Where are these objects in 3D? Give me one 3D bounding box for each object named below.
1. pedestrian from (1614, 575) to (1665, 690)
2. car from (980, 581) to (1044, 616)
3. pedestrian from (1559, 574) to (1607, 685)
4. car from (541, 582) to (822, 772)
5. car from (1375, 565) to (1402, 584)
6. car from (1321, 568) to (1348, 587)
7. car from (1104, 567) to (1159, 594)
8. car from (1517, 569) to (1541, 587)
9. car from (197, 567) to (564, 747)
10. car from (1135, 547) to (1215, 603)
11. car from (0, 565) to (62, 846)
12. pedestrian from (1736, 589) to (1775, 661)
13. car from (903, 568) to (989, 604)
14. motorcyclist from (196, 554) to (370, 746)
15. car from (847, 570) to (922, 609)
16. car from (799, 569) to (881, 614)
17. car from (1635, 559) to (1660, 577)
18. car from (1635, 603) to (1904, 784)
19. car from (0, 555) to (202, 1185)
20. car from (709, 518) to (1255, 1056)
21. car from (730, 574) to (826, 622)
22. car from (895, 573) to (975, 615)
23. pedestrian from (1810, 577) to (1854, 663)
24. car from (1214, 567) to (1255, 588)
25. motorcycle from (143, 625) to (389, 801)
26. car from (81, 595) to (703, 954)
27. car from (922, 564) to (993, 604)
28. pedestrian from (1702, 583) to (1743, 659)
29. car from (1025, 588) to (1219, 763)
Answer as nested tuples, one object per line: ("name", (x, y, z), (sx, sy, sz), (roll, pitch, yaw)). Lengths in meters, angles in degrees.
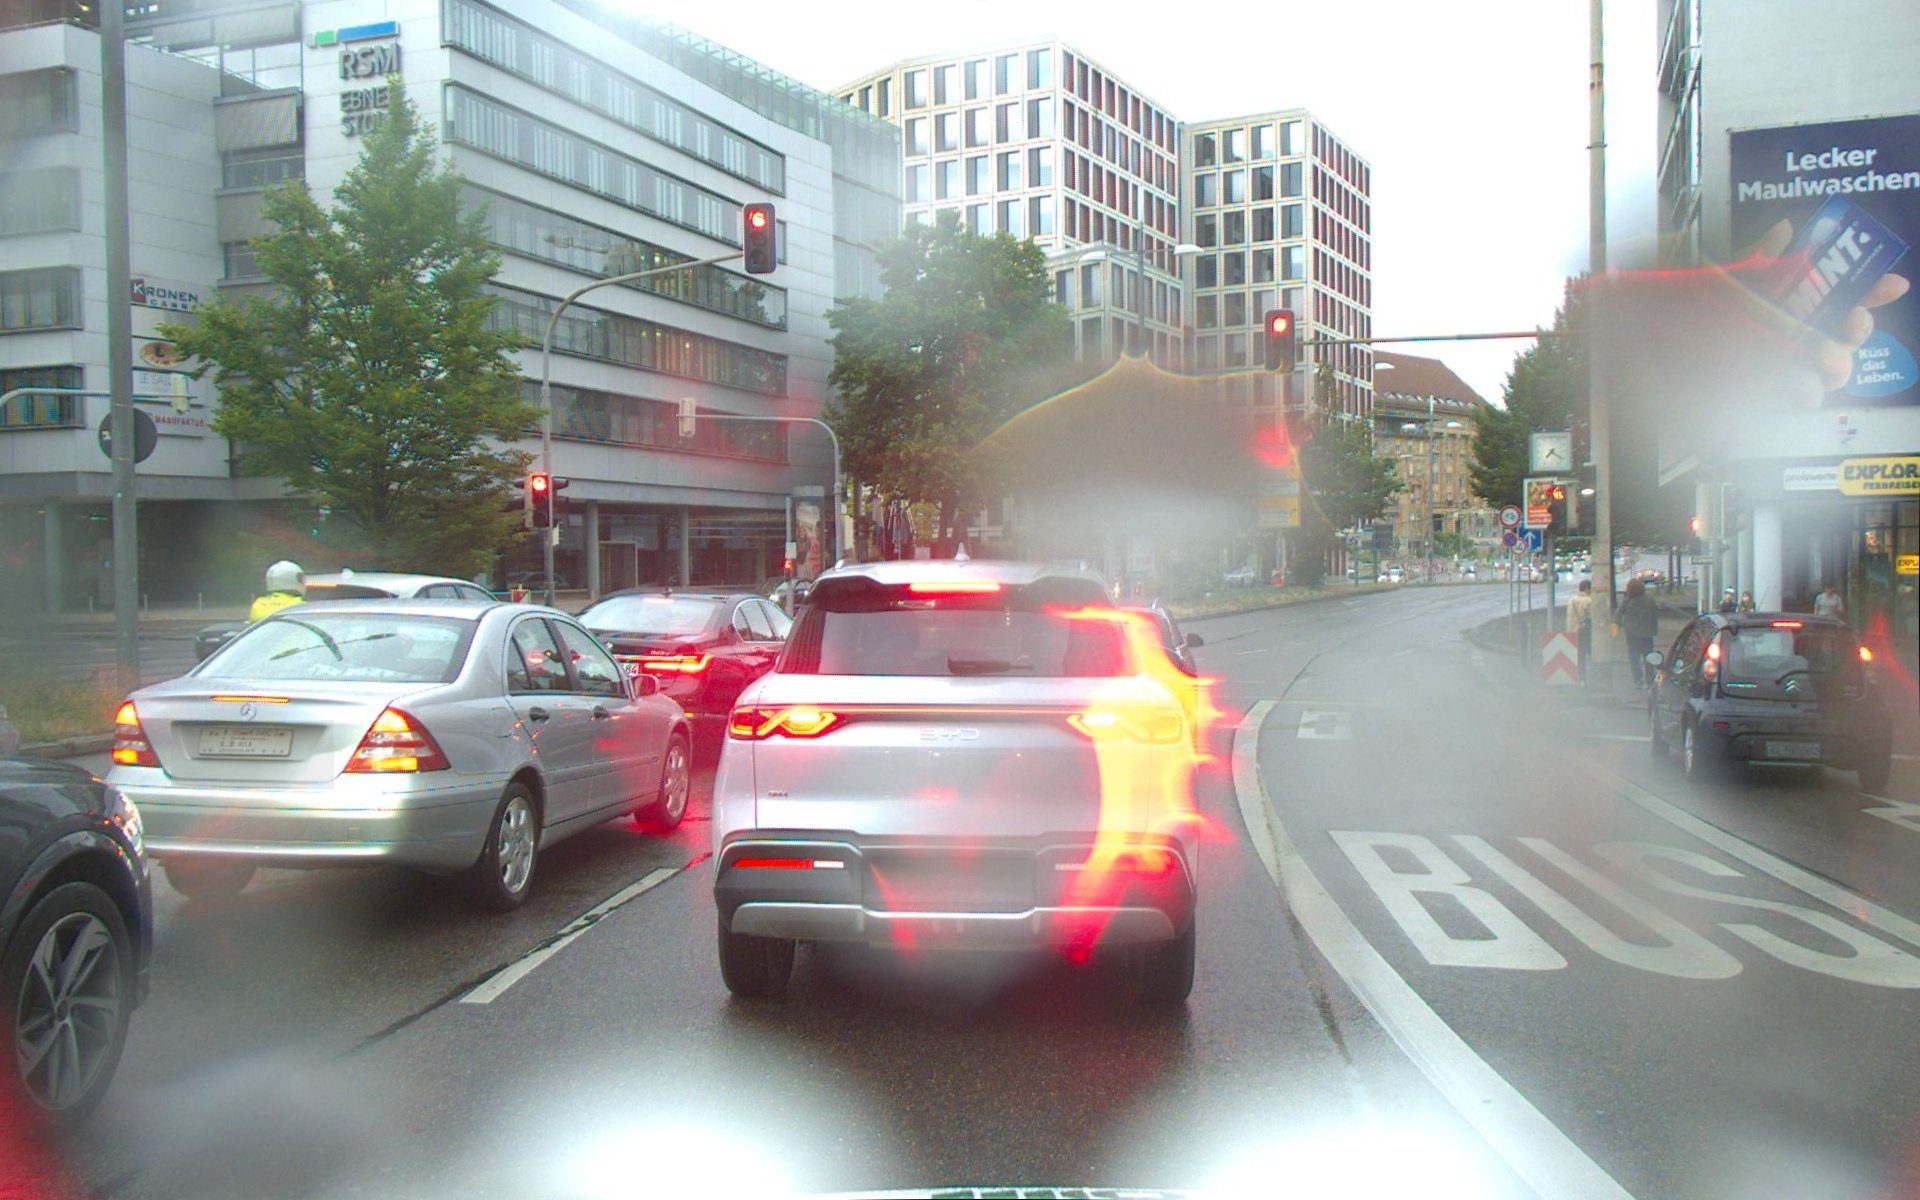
("pedestrian", (11.010, 0.509, 26.825), (0.733, 1.829, 0.817), (0, 1, 20))
("car", (2.580, -0.094, 81.306), (1.598, 1.586, 4.592), (0, 1, 23))
("pedestrian", (10.382, 0.477, 27.600), (0.733, 1.829, 0.817), (0, 1, 20))
("car", (-2.441, 0.635, 15.446), (1.537, 1.512, 4.003), (1, 0, 6))
("car", (34.051, -2.050, 131.378), (1.598, 1.462, 3.907), (0, 1, 23))
("car", (37.188, -2.243, 164.228), (1.577, 1.771, 3.437), (1, 0, 31))
("car", (10.060, -1.170, 96.838), (1.955, 1.514, 3.996), (0, 1, 27))
("car", (52.629, -2.040, 152.942), (1.849, 1.671, 4.000), (1, 1, 22))
("car", (-5.460, 0.492, 16.171), (1.670, 1.512, 4.003), (1, 0, 9))
("car", (8.491, -0.947, 65.087), (1.953, 2.049, 4.848), (1, 0, 22))
("car", (-6.349, 0.587, 7.383), (1.826, 1.560, 4.779), (1, 1, 4))
("pedestrian", (17.603, 0.539, 36.602), (0.615, 1.570, 0.649), (1, 0, 43))
("car", (-0.591, -0.662, 74.961), (1.778, 1.536, 5.192), (0, 1, 26))
("motorcyclist", (-5.219, 0.371, 12.816), (0.753, 1.404, 1.119), (1, 0, 8))
("car", (-3.157, -0.423, 69.537), (1.606, 1.598, 3.716), (1, 0, 25))
("car", (-4.258, -0.311, 59.226), (1.609, 1.563, 4.155), (1, 0, 16))
("car", (62.851, -2.914, 151.256), (1.662, 1.512, 3.993), (1, 0, 29))
("car", (7.482, 0.780, 15.638), (1.537, 1.454, 4.003), (1, 0, 15))
("car", (-3.148, 0.662, 2.963), (1.614, 1.548, 4.271), (1, 1, 0))
("car", (0.115, 0.611, 7.343), (1.739, 1.708, 4.000), (1, 0, 1))
("car", (-6.698, -0.086, 61.398), (1.952, 1.638, 4.001), (2, 1, 20))
("car", (-0.856, -0.195, 58.767), (1.655, 1.409, 3.870), (1, 0, 18))
("pedestrian", (18.863, 0.423, 35.775), (0.659, 1.825, 0.768), (1, 0, 43))
("car", (20.470, -1.668, 123.337), (1.955, 1.514, 3.996), (0, 1, 27))
("motorcycle", (-5.253, 0.810, 12.684), (0.783, 1.205, 2.030), (1, 0, 8))
("car", (-2.660, 0.718, 8.833), (1.537, 1.432, 4.112), (1, 0, 6))
("car", (-0.066, -0.645, 68.748), (1.610, 1.608, 4.086), (1, 0, 21))
("pedestrian", (17.095, 0.457, 37.063), (0.659, 1.684, 0.649), (1, 0, 43))
("car", (1.738, 0.675, 16.640), (1.657, 1.512, 4.003), (1, 0, 10))
